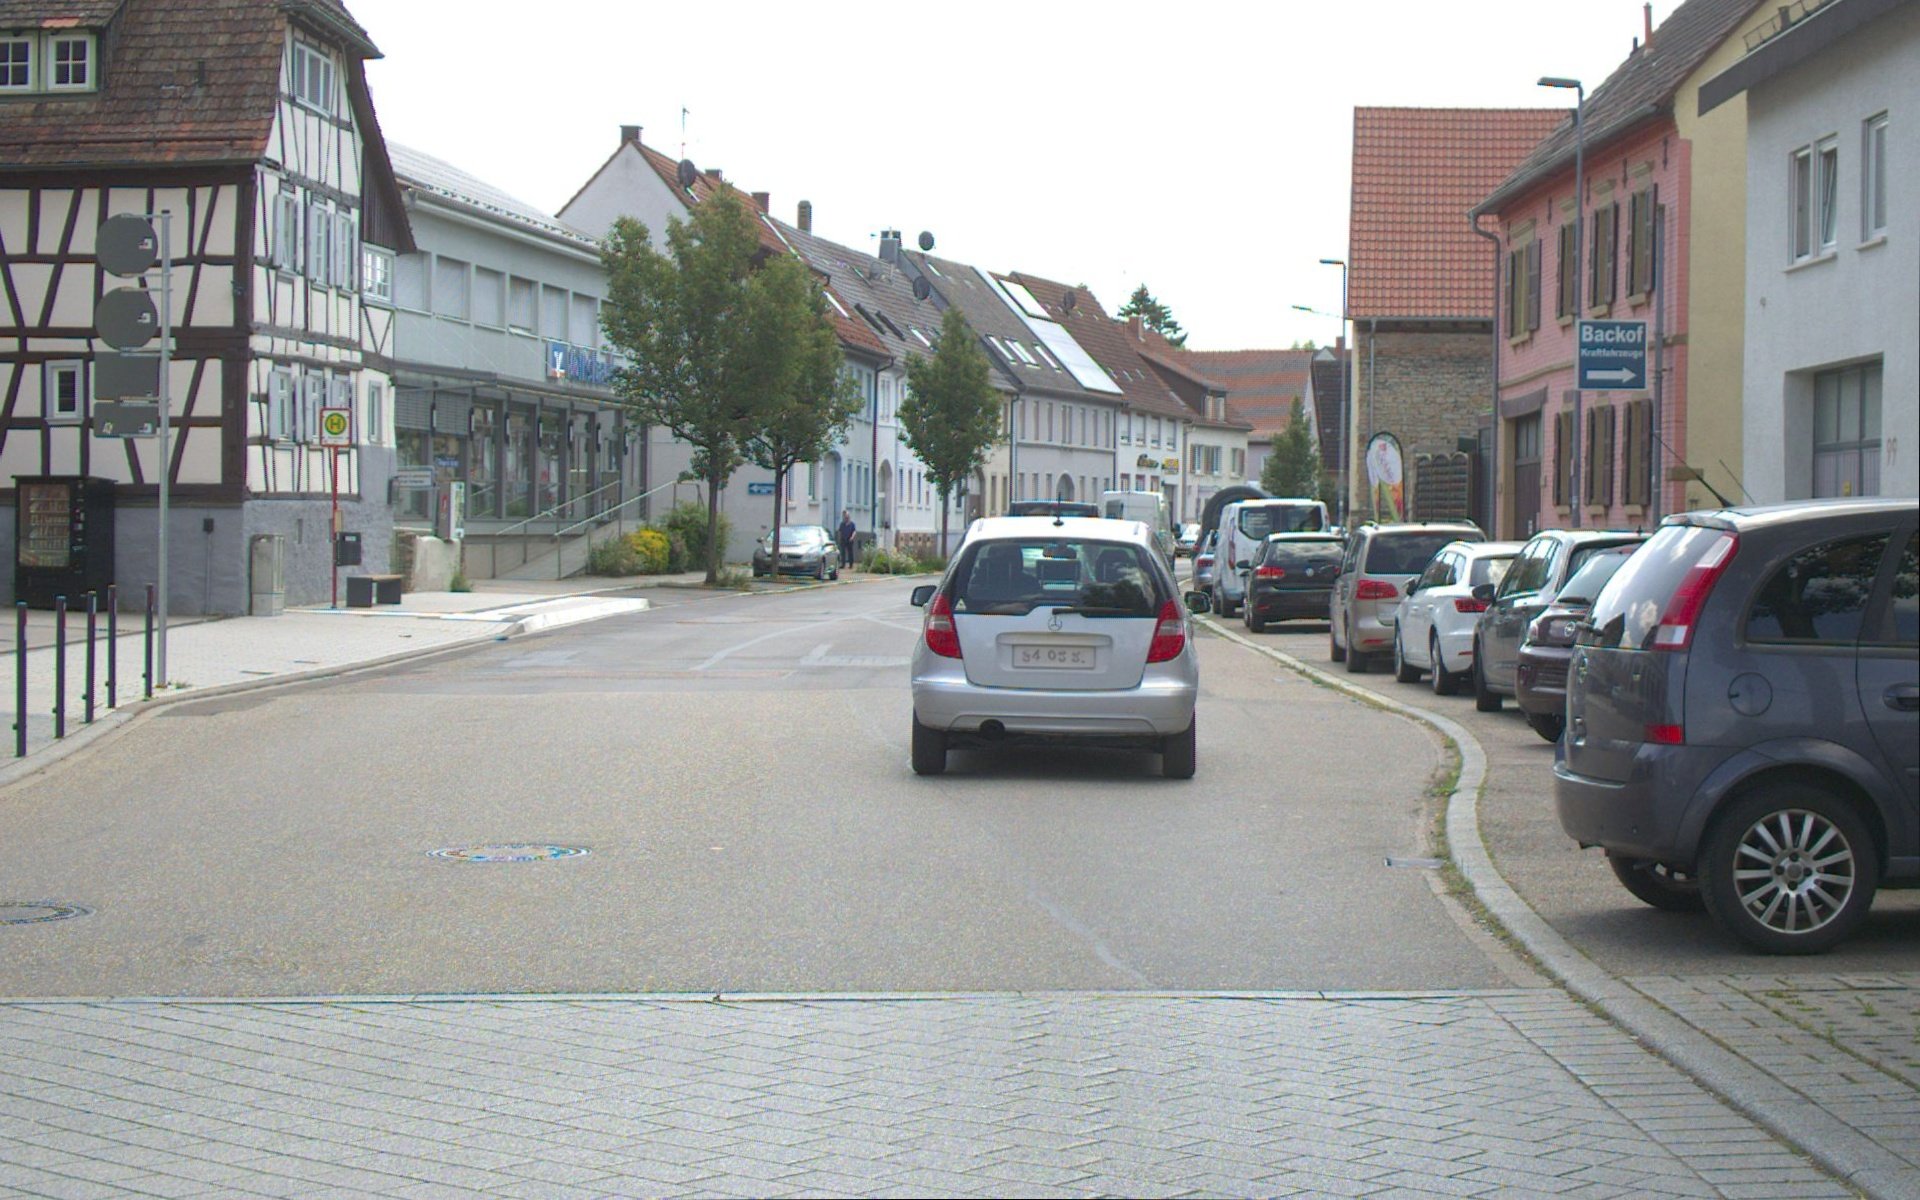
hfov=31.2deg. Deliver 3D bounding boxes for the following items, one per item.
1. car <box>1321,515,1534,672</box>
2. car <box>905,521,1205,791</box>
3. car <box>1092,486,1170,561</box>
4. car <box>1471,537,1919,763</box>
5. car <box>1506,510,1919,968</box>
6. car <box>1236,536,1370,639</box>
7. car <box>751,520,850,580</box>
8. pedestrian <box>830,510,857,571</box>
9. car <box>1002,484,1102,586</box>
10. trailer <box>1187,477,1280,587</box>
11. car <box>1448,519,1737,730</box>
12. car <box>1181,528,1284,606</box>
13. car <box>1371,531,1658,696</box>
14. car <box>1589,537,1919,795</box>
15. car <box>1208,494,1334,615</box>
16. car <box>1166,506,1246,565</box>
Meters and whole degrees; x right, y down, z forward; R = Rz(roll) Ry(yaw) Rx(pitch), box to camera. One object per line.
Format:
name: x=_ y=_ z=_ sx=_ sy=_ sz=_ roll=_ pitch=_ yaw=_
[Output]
car: x=5.247 y=-0.123 z=39.096 sx=1.994 sy=1.675 sz=4.323 roll=0 pitch=1 yaw=2
car: x=0.629 y=0.296 z=22.403 sx=1.769 sy=1.589 sz=4.000 roll=0 pitch=1 yaw=2
car: x=5.192 y=-2.290 z=103.895 sx=2.236 sy=2.214 sz=3.999 roll=0 pitch=1 yaw=5
car: x=5.513 y=0.304 z=24.514 sx=3.225 sy=1.499 sz=1.827 roll=-1 pitch=2 yaw=-27
car: x=4.152 y=0.438 z=12.950 sx=3.848 sy=1.572 sz=1.851 roll=-1 pitch=1 yaw=-1
car: x=5.188 y=-0.224 z=52.396 sx=1.775 sy=1.490 sz=4.162 roll=0 pitch=1 yaw=2
car: x=-4.066 y=-1.307 z=88.203 sx=1.805 sy=1.455 sz=4.157 roll=1 pitch=1 yaw=8
pedestrian: x=-3.468 y=-1.764 z=102.491 sx=0.739 sy=1.795 sz=0.642 roll=0 pitch=0 yaw=4
car: x=1.862 y=-1.288 z=68.623 sx=1.769 sy=1.881 sz=4.446 roll=3 pitch=1 yaw=3
trailer: x=5.947 y=-1.506 z=75.106 sx=1.845 sy=2.346 sz=3.589 roll=0 pitch=1 yaw=2
car: x=5.173 y=0.138 z=28.595 sx=1.662 sy=1.619 sz=4.272 roll=0 pitch=1 yaw=1
car: x=5.516 y=-0.699 z=70.118 sx=1.875 sy=1.476 sz=4.674 roll=1 pitch=1 yaw=2
car: x=5.396 y=0.081 z=34.026 sx=1.993 sy=1.512 sz=4.372 roll=0 pitch=1 yaw=-2
car: x=5.639 y=0.363 z=21.501 sx=2.778 sy=1.499 sz=1.878 roll=0 pitch=1 yaw=-21
car: x=5.411 y=-0.821 z=60.247 sx=1.892 sy=1.975 sz=4.931 roll=-2 pitch=1 yaw=2
car: x=6.729 y=-1.773 z=94.246 sx=1.993 sy=1.554 sz=4.000 roll=-1 pitch=1 yaw=2
